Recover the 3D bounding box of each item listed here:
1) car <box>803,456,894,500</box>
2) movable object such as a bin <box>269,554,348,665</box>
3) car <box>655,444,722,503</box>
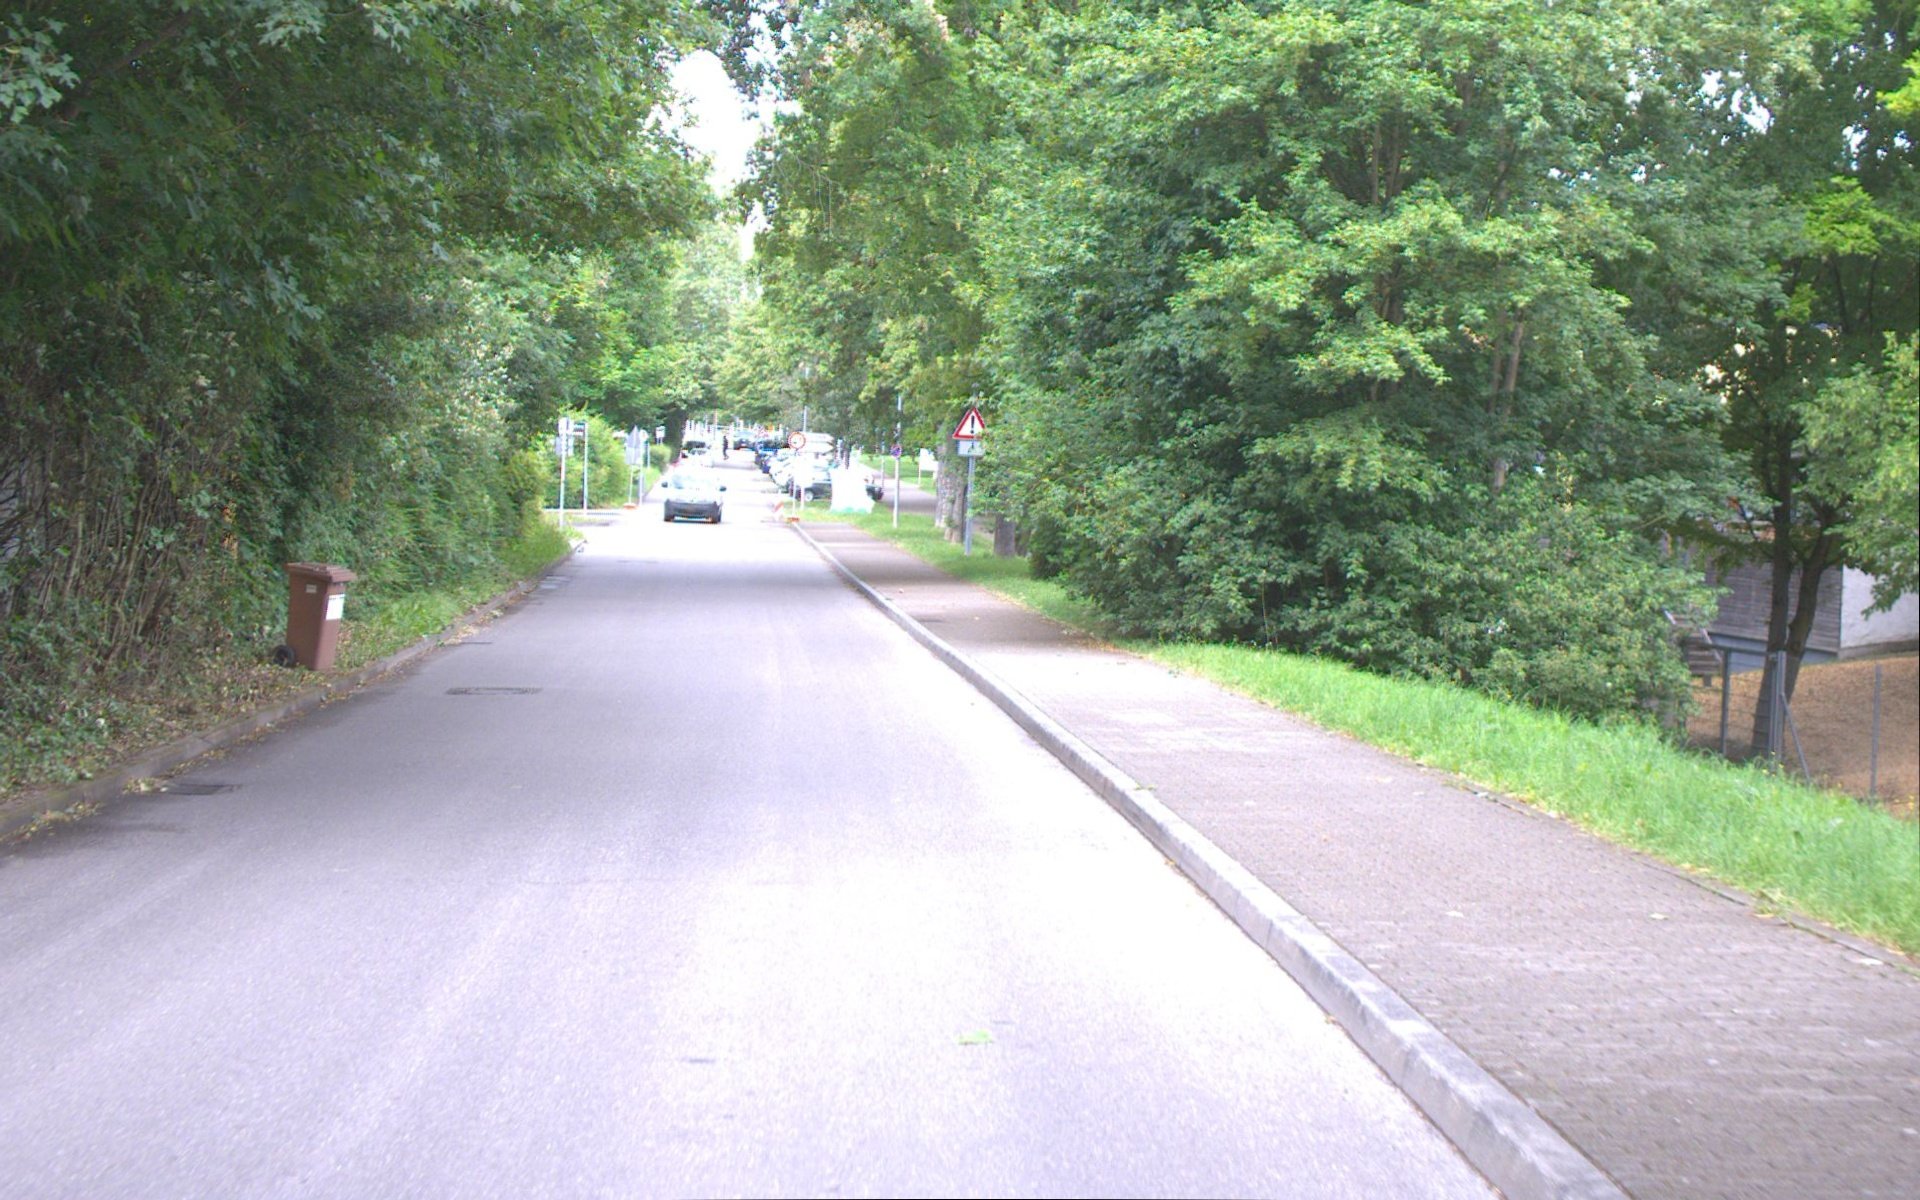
[{"bbox_3d":[-4.974,-5.439,153.094,3.986,1.766,2.000,2,0,-2],"label":"car"},{"bbox_3d":[-5.723,0.081,30.203,0.590,0.954,0.470,2,0,-2],"label":"movable object such as a bin"},{"bbox_3d":[-8.859,-4.109,112.367,1.993,1.766,4.000,2,1,-2],"label":"car"}]
